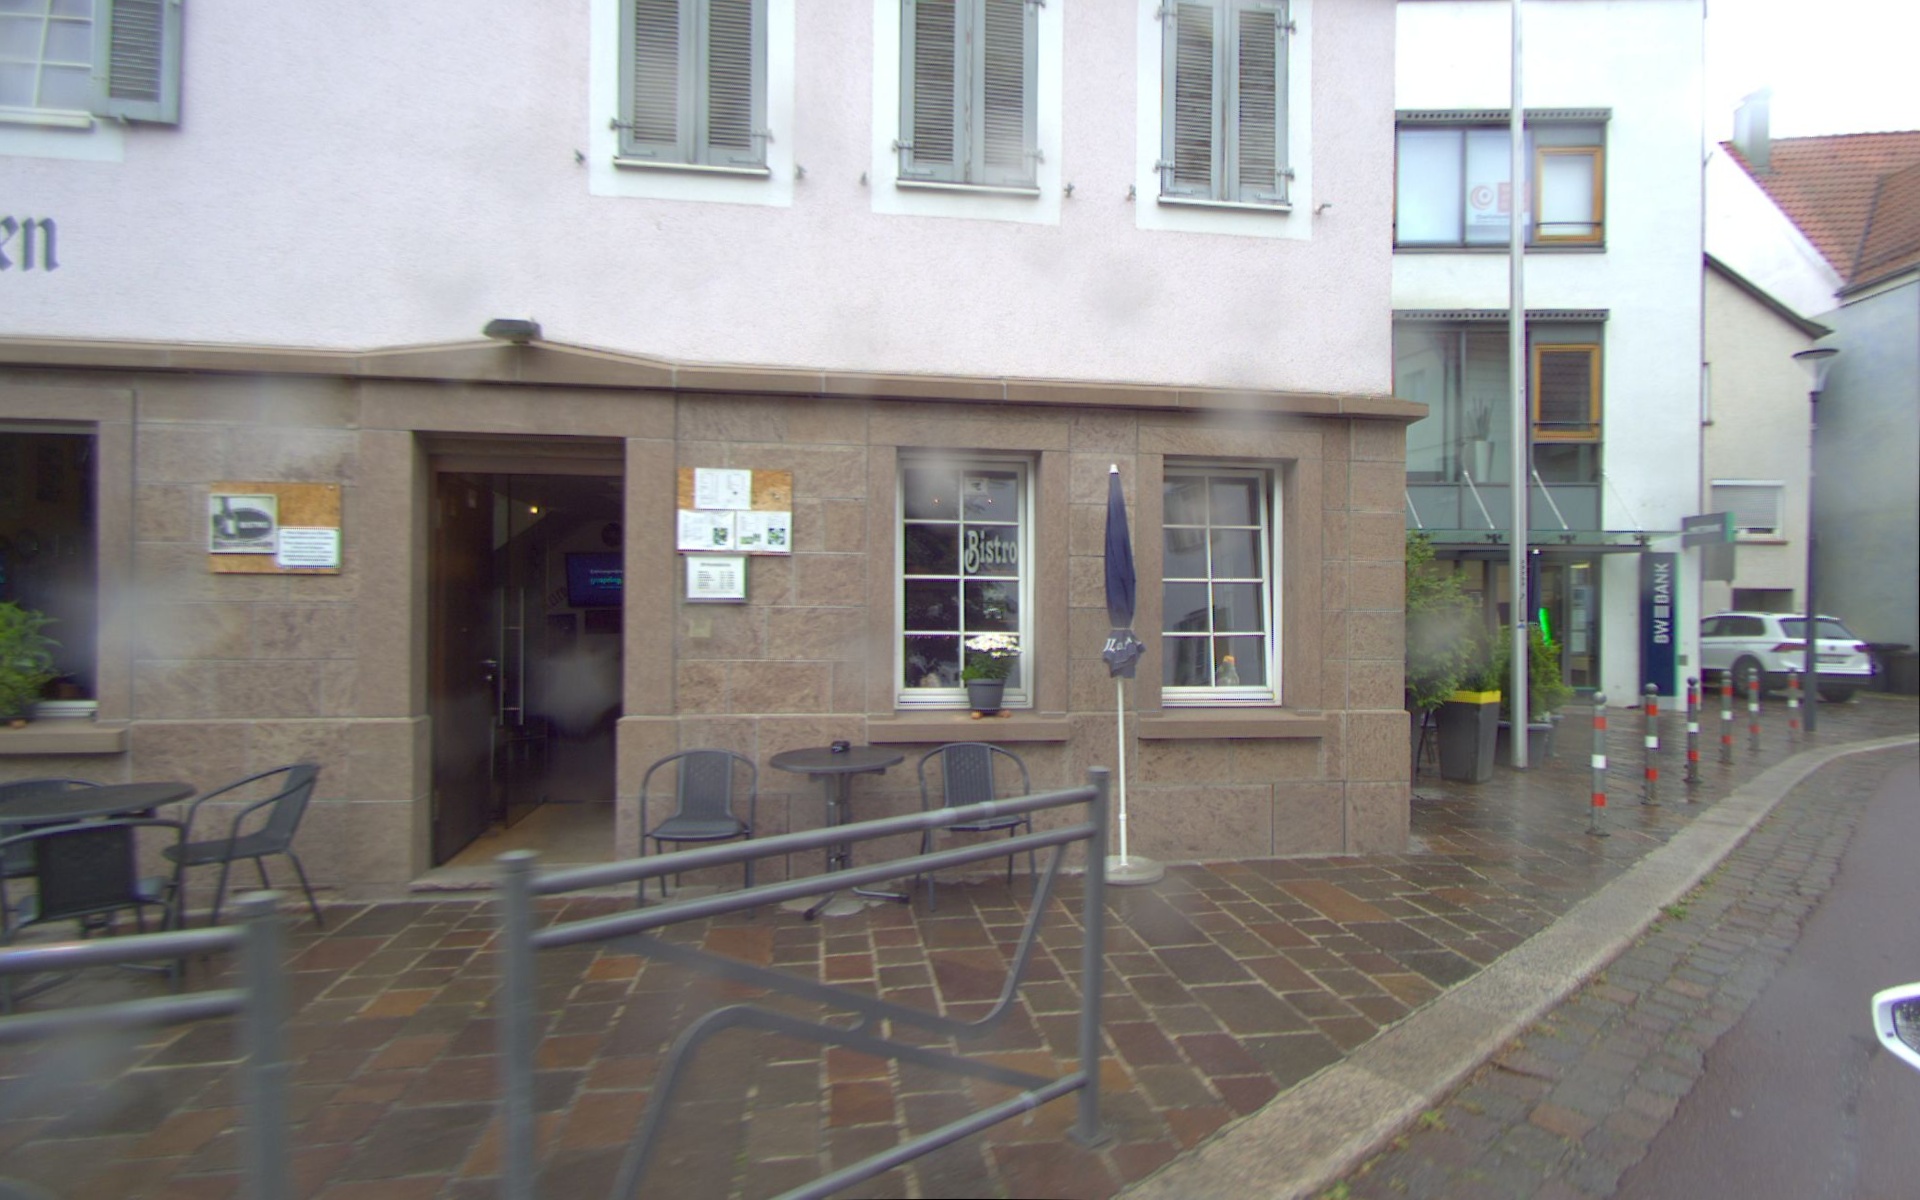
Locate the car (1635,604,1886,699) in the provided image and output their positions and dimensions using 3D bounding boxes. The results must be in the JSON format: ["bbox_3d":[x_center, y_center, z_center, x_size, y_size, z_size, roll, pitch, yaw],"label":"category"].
[{"bbox_3d":[15.835,0.942,20.188,1.960,1.699,4.001,1,0,3],"label":"car"}]
